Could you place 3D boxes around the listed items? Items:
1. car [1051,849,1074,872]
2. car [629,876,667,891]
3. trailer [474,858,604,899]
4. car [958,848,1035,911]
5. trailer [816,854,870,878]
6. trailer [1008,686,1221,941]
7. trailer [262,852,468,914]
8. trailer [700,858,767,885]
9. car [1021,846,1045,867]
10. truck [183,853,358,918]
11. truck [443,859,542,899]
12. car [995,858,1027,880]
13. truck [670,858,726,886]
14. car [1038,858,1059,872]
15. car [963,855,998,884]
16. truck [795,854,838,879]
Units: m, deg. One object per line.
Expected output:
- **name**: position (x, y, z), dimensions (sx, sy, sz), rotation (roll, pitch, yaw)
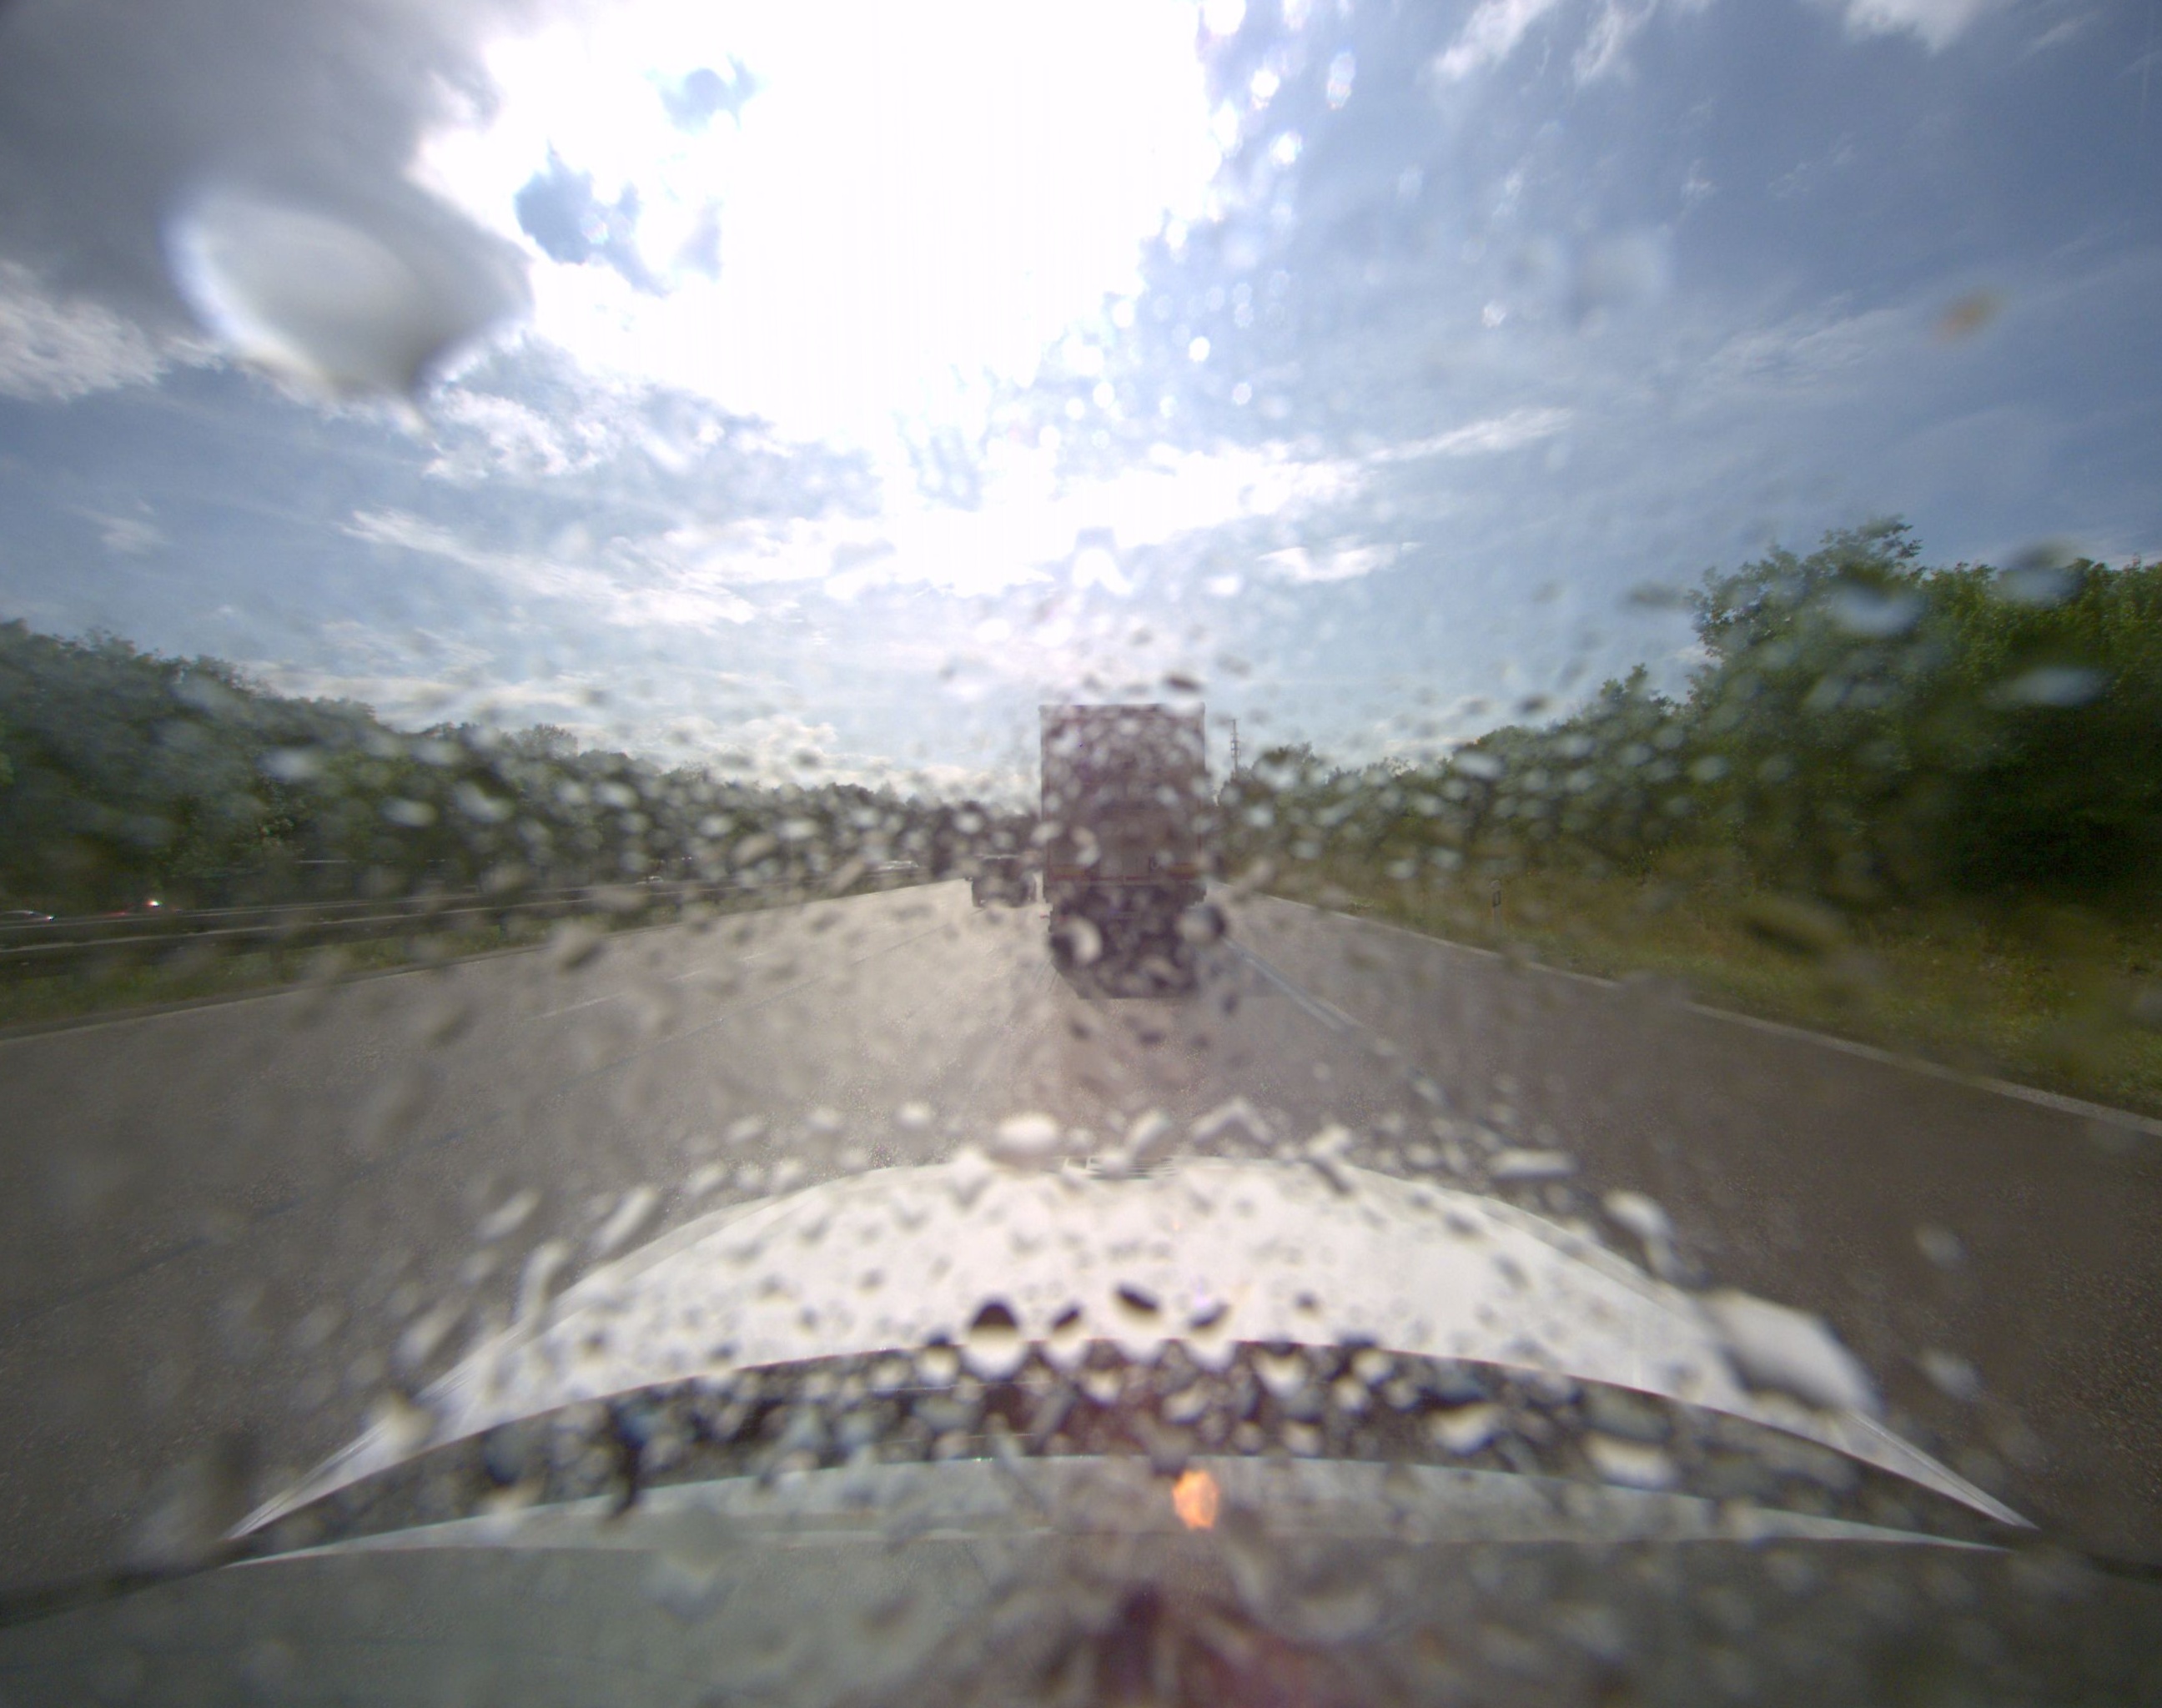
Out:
- **car**: position (-1.478, 0.531, 65.006), dimensions (1.687, 1.805, 3.976), rotation (0, -1, 1)
- **car**: position (-53.177, 3.650, 100.018), dimensions (2.049, 1.718, 4.374), rotation (0, -1, 5)
- **trailer**: position (-55.415, 2.361, 84.039), dimensions (3.773, 3.649, 13.356), rotation (-2, 0, 3)
- **car**: position (-2.741, 0.812, 27.575), dimensions (2.268, 1.954, 4.817), rotation (0, -1, -2)
- **trailer**: position (-43.091, 2.148, 148.140), dimensions (3.759, 4.117, 11.774), rotation (0, -1, 16)
- **trailer**: position (0.711, -0.614, 19.545), dimensions (3.271, 3.898, 14.133), rotation (0, 0, 2)
- **trailer**: position (-57.032, 2.126, 65.826), dimensions (3.773, 4.405, 13.813), rotation (-2, 0, 3)
- **trailer**: position (-50.349, 2.438, 118.427), dimensions (3.766, 3.649, 10.526), rotation (-2, 0, 10)
- **car**: position (-4.837, 0.271, 82.849), dimensions (1.970, 2.054, 4.760), rotation (0, -1, 3)
- **truck**: position (-57.397, 2.125, 58.134), dimensions (3.772, 4.234, 8.423), rotation (0, -1, 3)
- **truck**: position (-55.795, 2.319, 77.545), dimensions (3.772, 3.589, 7.360), rotation (0, -1, 3)
- **car**: position (-5.551, 1.176, 65.446), dimensions (1.901, 1.636, 4.620), rotation (-2, -1, 3)
- **truck**: position (-51.655, 2.413, 109.995), dimensions (3.767, 3.660, 6.719), rotation (0, -1, 8)
- **car**: position (-3.718, 1.207, 93.475), dimensions (1.985, 1.565, 4.760), rotation (0, -1, 3)
- **car**: position (-6.514, 0.990, 53.169), dimensions (1.687, 1.805, 3.976), rotation (0, -1, 1)
- **truck**: position (-45.419, 2.081, 139.998), dimensions (3.759, 4.117, 7.075), rotation (0, -1, 16)
